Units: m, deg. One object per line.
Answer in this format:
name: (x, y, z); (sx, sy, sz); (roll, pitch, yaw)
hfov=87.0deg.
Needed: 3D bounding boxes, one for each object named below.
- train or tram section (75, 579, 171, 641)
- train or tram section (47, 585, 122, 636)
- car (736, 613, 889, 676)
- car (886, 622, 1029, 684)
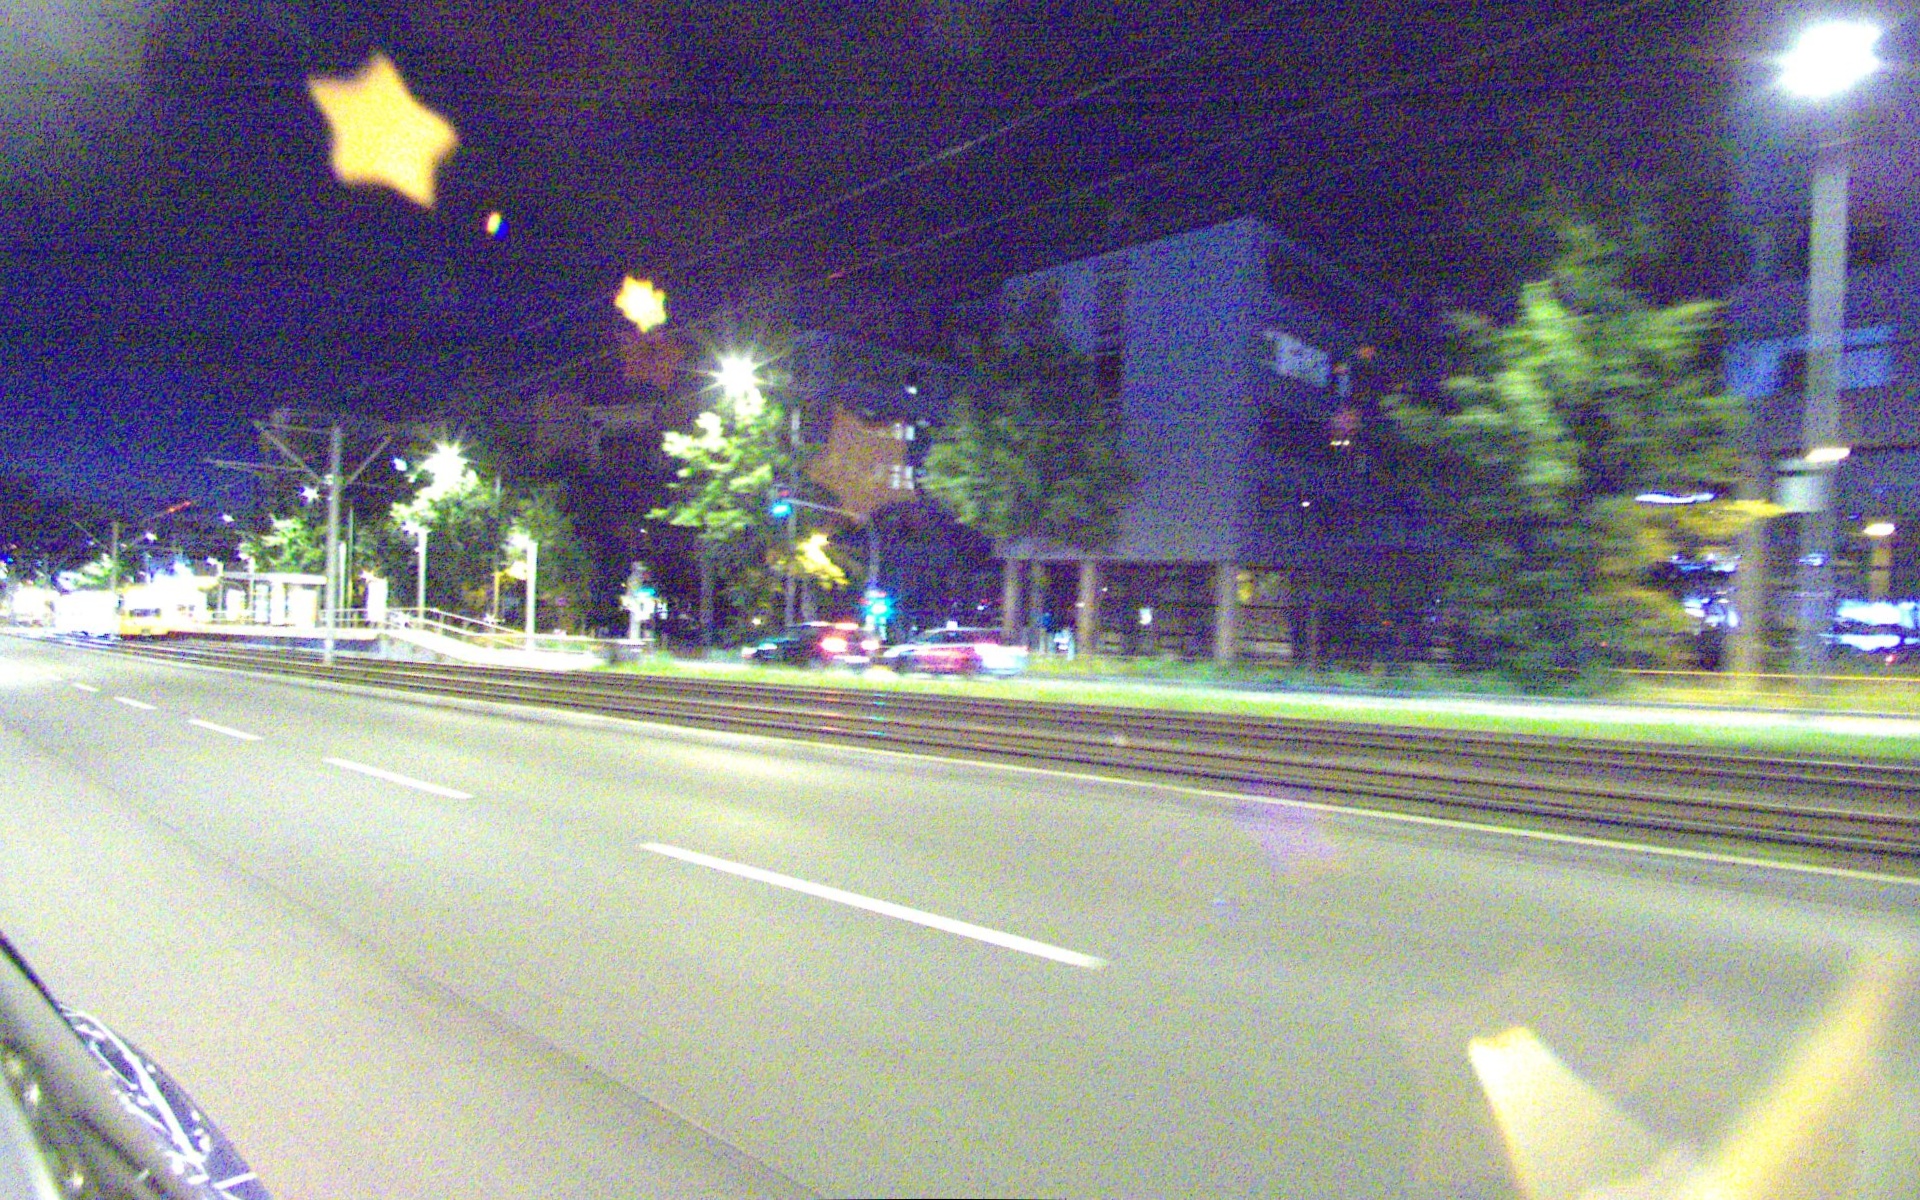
train or tram section: (-58.537, 0.704, 70.474); (18.670, 3.856, 2.728); (-1, -1, 43)
train or tram section: (-72.419, 0.870, 83.500); (19.365, 3.875, 2.708); (-1, -1, 43)
car: (-4.086, 1.147, 27.705); (4.169, 1.508, 1.767); (1, 0, 38)
car: (-0.112, 1.400, 28.013); (3.911, 1.528, 1.642); (0, 0, 43)
